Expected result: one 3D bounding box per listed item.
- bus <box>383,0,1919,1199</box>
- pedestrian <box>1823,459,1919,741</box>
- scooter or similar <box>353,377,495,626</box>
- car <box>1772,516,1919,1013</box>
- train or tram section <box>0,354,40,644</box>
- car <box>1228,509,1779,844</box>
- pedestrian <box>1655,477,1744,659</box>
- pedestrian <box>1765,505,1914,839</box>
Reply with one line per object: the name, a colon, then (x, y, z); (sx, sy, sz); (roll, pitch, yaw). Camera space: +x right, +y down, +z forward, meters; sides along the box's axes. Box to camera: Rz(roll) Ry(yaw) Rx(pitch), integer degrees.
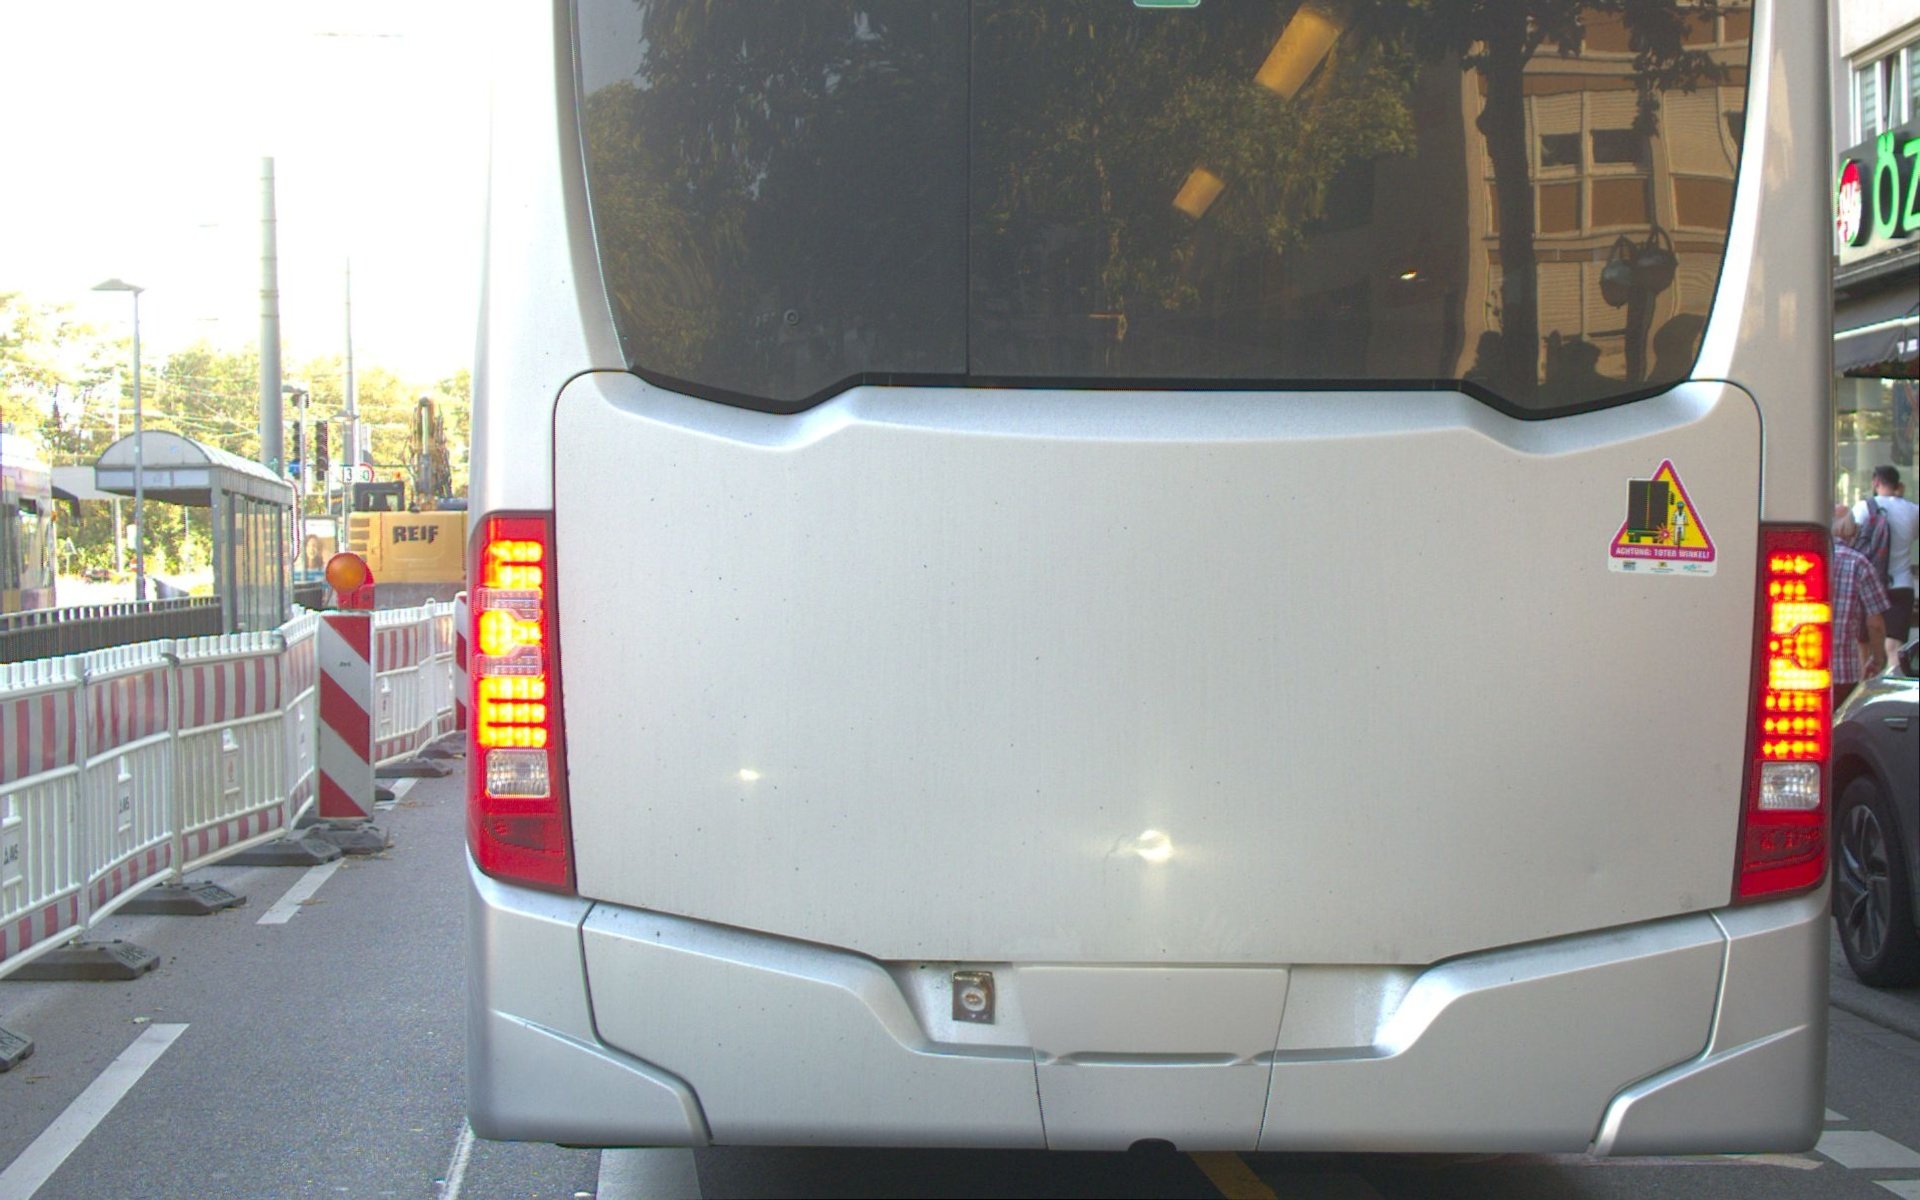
bus: (0.294, -0.202, 9.882); (2.611, 3.115, 7.993); (1, 1, -1)
pedestrian: (6.716, -0.009, 24.931); (0.685, 2.007, 0.786); (-1, 1, -1)
scooter or similar: (-10.041, -1.808, 64.740); (2.468, 4.455, 5.974); (-1, 1, -8)
car: (4.117, 0.508, 10.168); (1.993, 1.576, 4.369); (-3, 1, -5)
train or tram section: (-12.710, -1.210, 39.612); (2.686, 3.521, 11.585); (1, 1, -8)
car: (2.898, 0.336, 19.389); (1.993, 1.576, 4.369); (-3, 1, -5)
pedestrian: (7.557, -0.326, 35.135); (0.685, 1.830, 0.786); (-1, 1, -3)
pedestrian: (4.505, 0.360, 17.590); (0.664, 1.661, 0.600); (-2, 0, 16)
